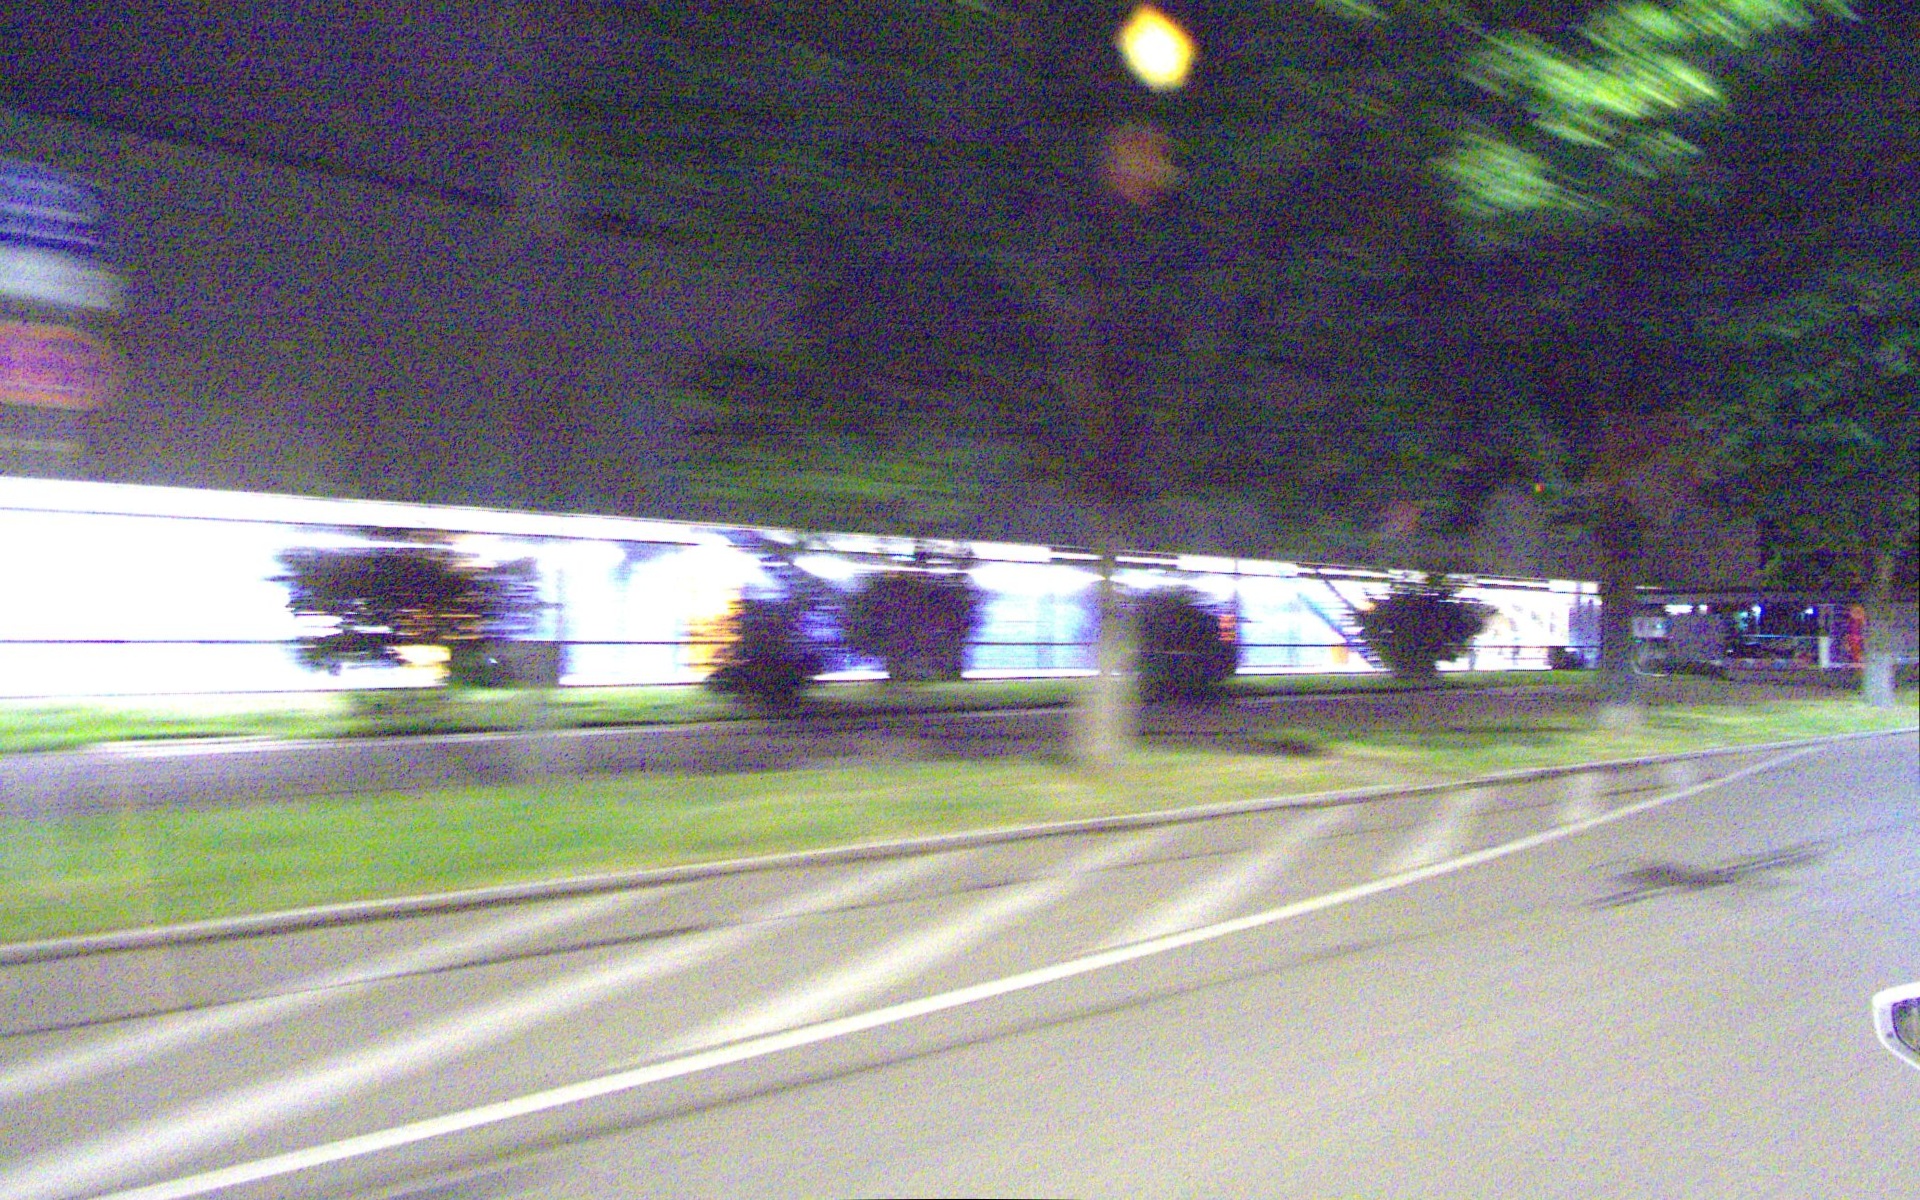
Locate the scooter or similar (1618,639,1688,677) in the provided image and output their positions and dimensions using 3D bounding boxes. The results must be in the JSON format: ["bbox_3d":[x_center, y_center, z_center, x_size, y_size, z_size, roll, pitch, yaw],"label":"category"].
[{"bbox_3d":[20.996,1.751,30.453,0.537,1.021,1.667,1,1,-27],"label":"scooter or similar"}]
